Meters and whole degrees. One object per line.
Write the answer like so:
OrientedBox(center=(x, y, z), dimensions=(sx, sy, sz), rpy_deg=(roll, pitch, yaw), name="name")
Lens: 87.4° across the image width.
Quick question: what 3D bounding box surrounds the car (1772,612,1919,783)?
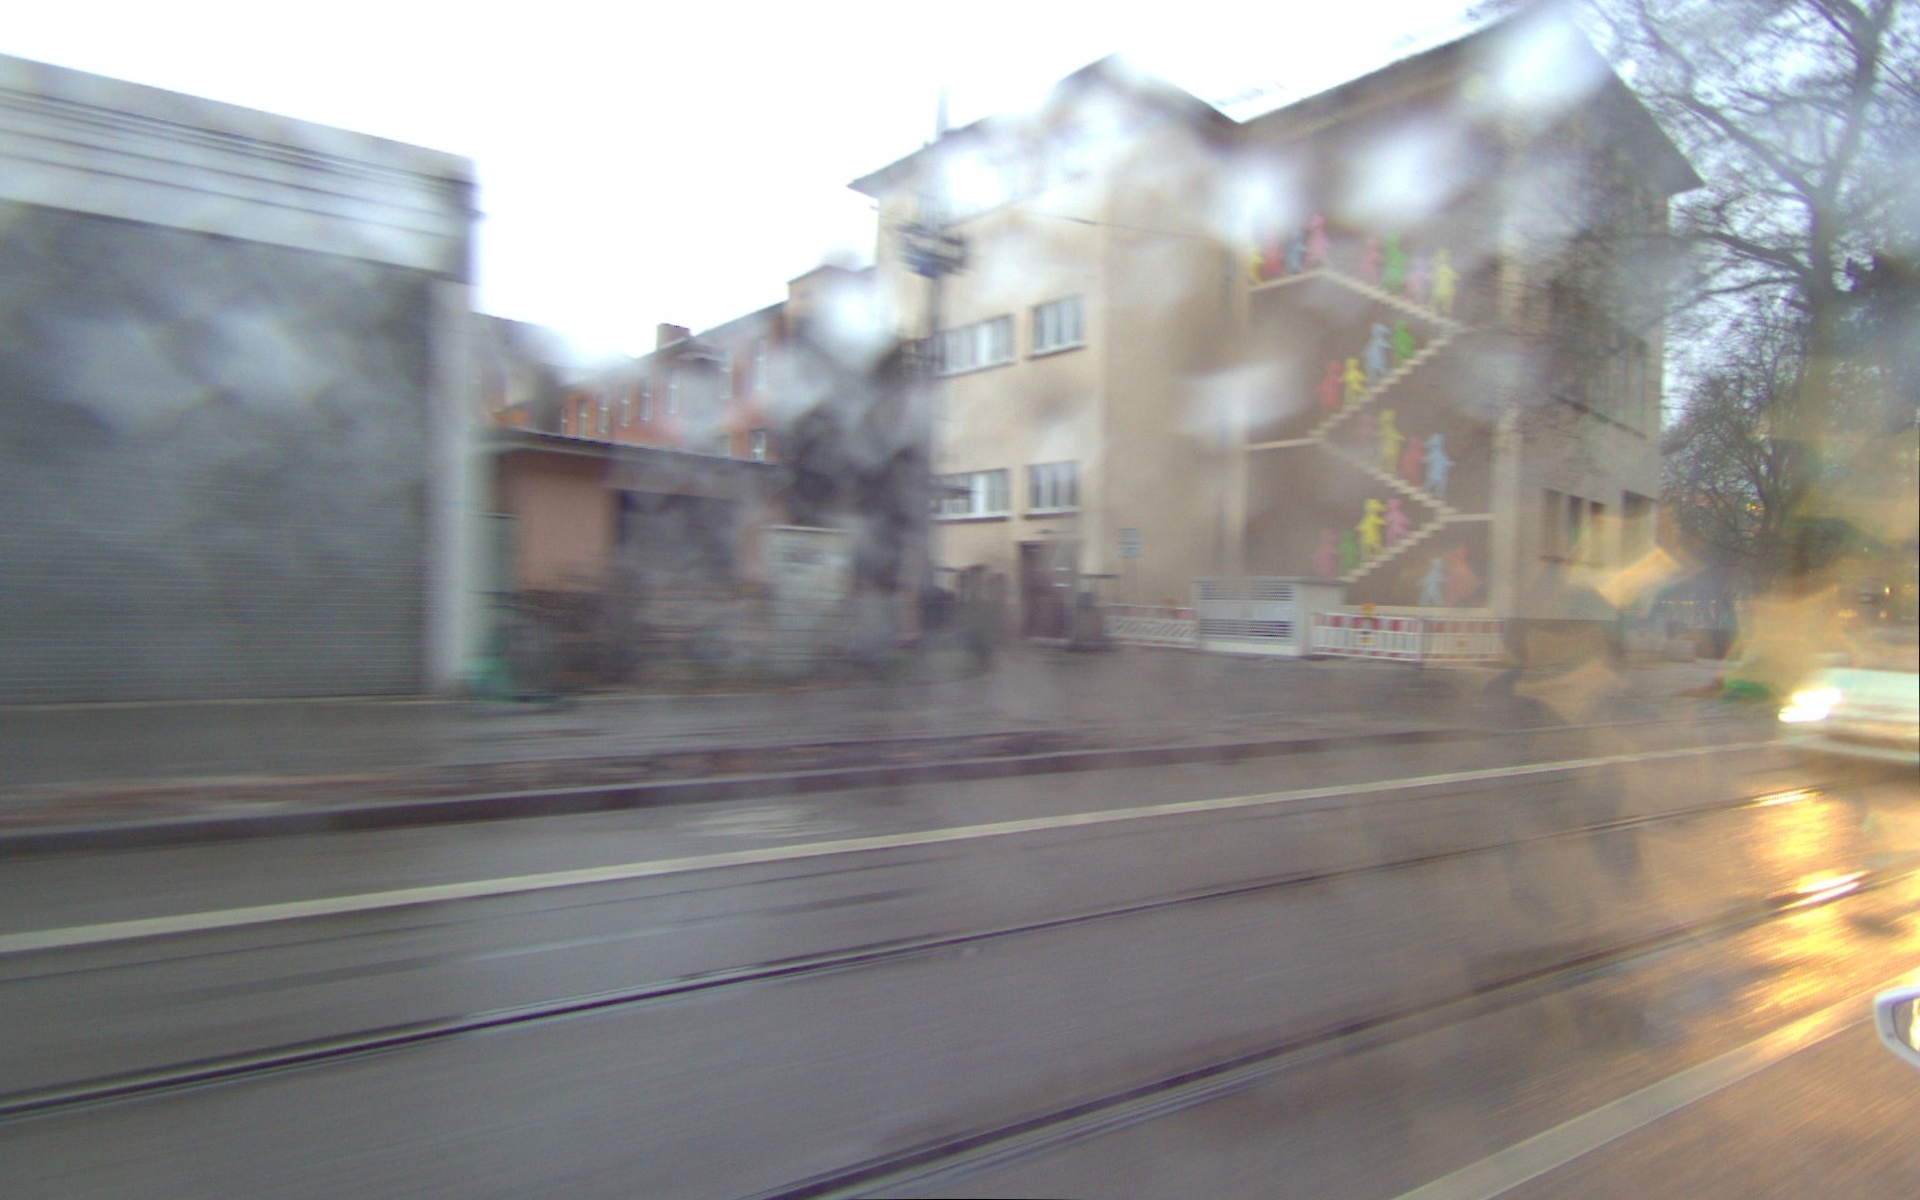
OrientedBox(center=(9.887, 0.911, 10.103), dimensions=(3.519, 1.501, 1.523), rpy_deg=(1, 0, -30), name="car")
